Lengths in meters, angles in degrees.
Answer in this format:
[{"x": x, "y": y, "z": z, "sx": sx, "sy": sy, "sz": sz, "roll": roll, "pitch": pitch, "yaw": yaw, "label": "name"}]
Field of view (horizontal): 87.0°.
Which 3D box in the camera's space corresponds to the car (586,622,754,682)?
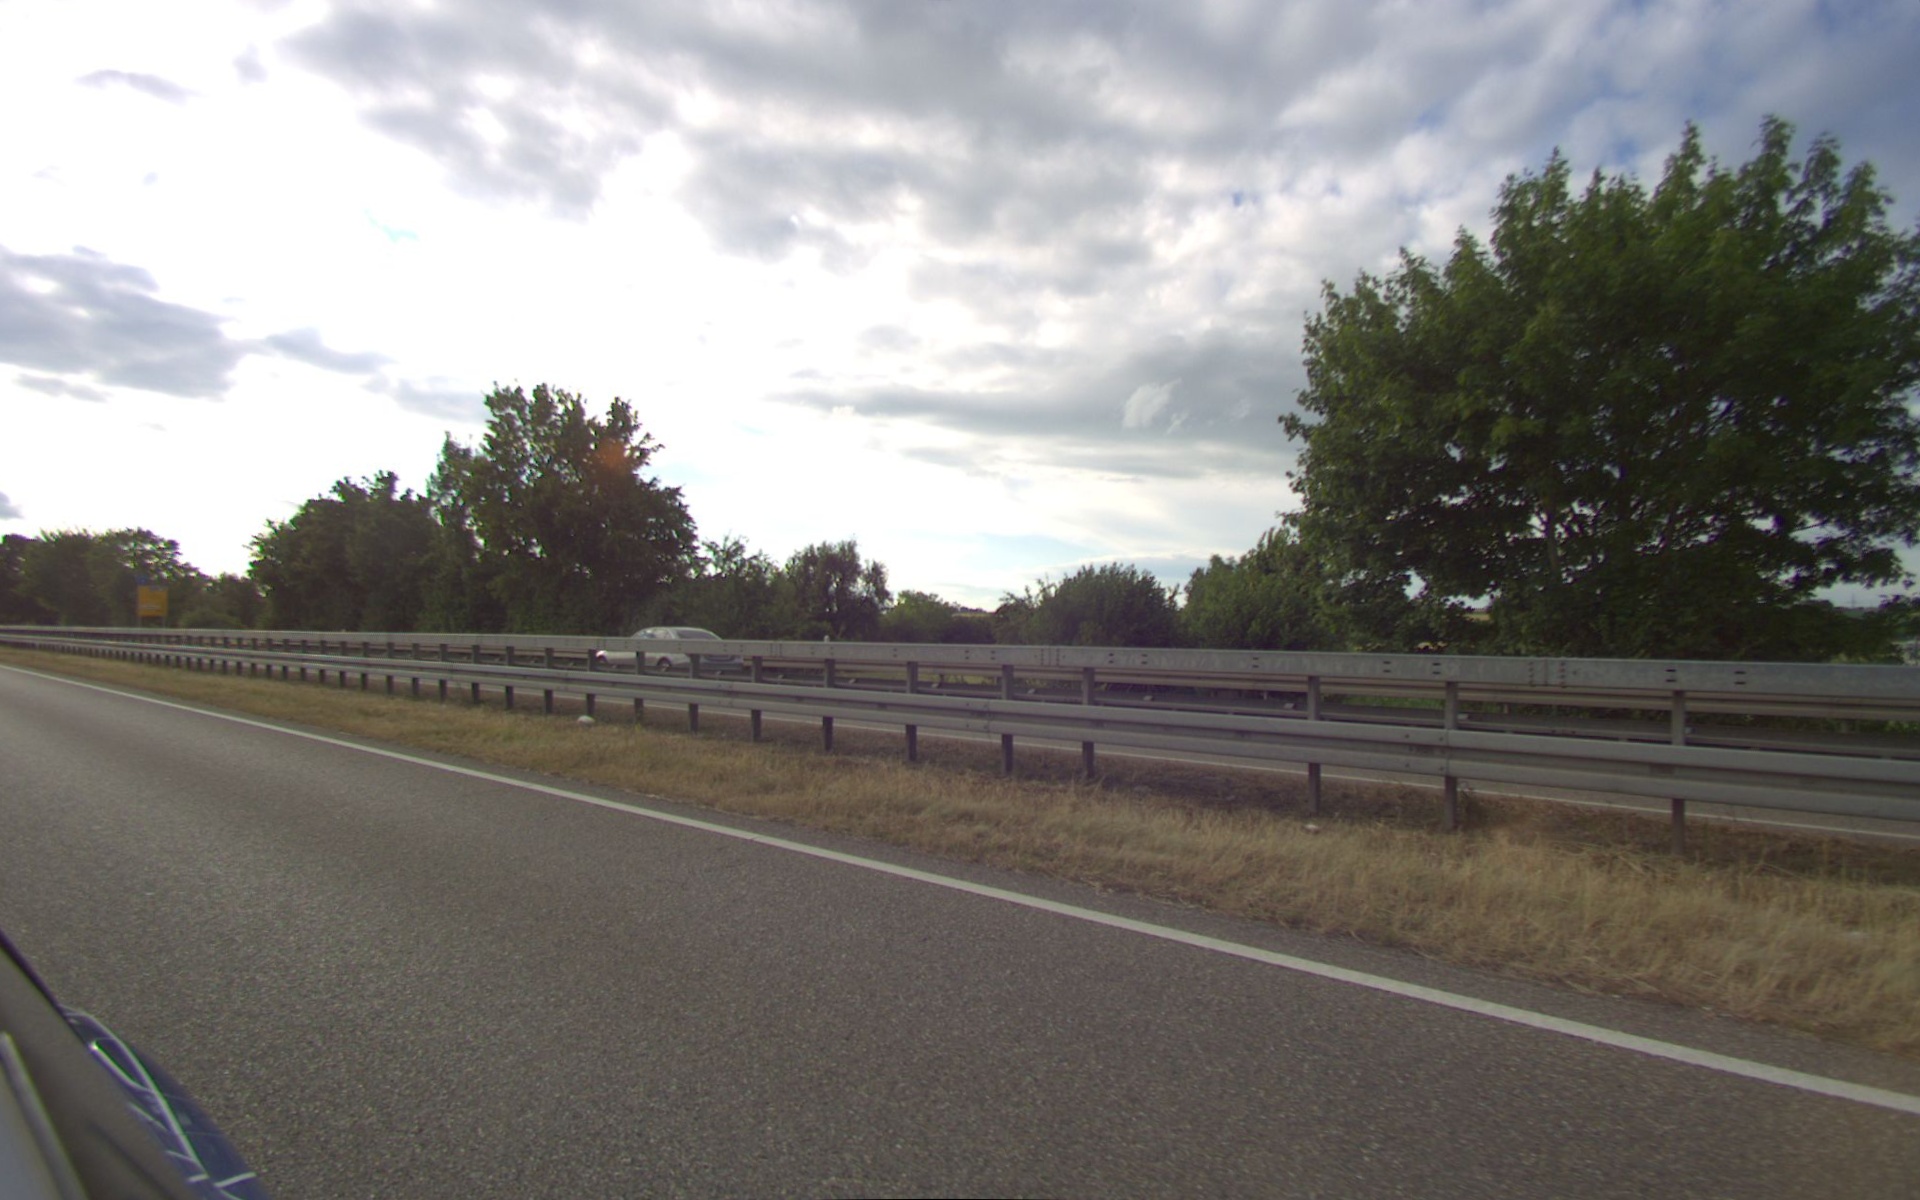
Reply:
[{"x": -7.203, "y": 1.222, "z": 24.894, "sx": 4.574, "sy": 1.362, "sz": 1.762, "roll": -1, "pitch": -2, "yaw": 41, "label": "car"}]
